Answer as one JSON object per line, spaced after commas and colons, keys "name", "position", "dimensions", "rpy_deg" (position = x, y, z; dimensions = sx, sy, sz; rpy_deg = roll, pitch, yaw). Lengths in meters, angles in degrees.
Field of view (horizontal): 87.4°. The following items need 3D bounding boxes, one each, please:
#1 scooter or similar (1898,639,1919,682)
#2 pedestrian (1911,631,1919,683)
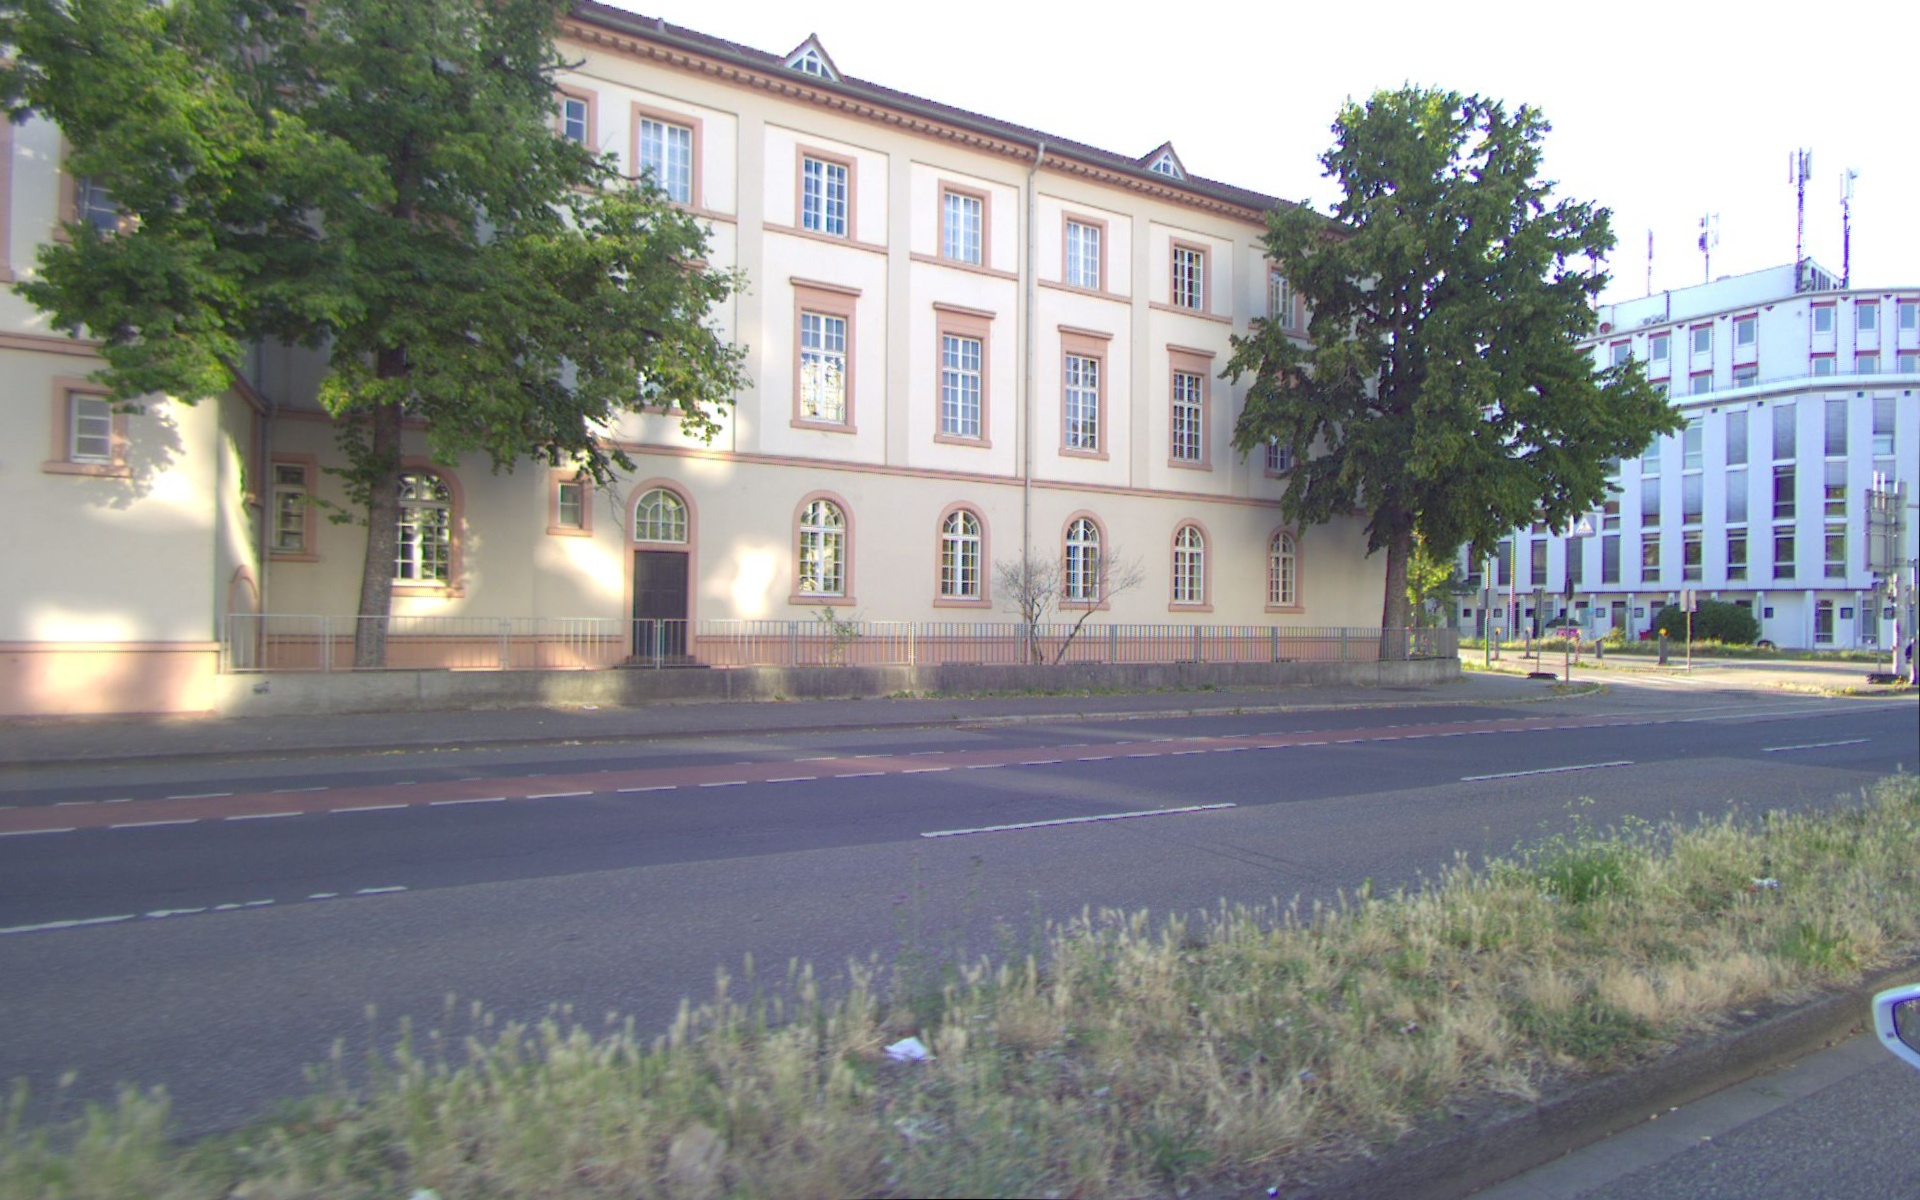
{"name": "scooter or similar", "position": [28.358, 1.797, 29.692], "dimensions": [0.368, 1.250, 0.886], "rpy_deg": [1, -1, -39]}
{"name": "pedestrian", "position": [28.578, 1.695, 29.829], "dimensions": [0.332, 1.525, 0.470], "rpy_deg": [1, -1, -40]}
